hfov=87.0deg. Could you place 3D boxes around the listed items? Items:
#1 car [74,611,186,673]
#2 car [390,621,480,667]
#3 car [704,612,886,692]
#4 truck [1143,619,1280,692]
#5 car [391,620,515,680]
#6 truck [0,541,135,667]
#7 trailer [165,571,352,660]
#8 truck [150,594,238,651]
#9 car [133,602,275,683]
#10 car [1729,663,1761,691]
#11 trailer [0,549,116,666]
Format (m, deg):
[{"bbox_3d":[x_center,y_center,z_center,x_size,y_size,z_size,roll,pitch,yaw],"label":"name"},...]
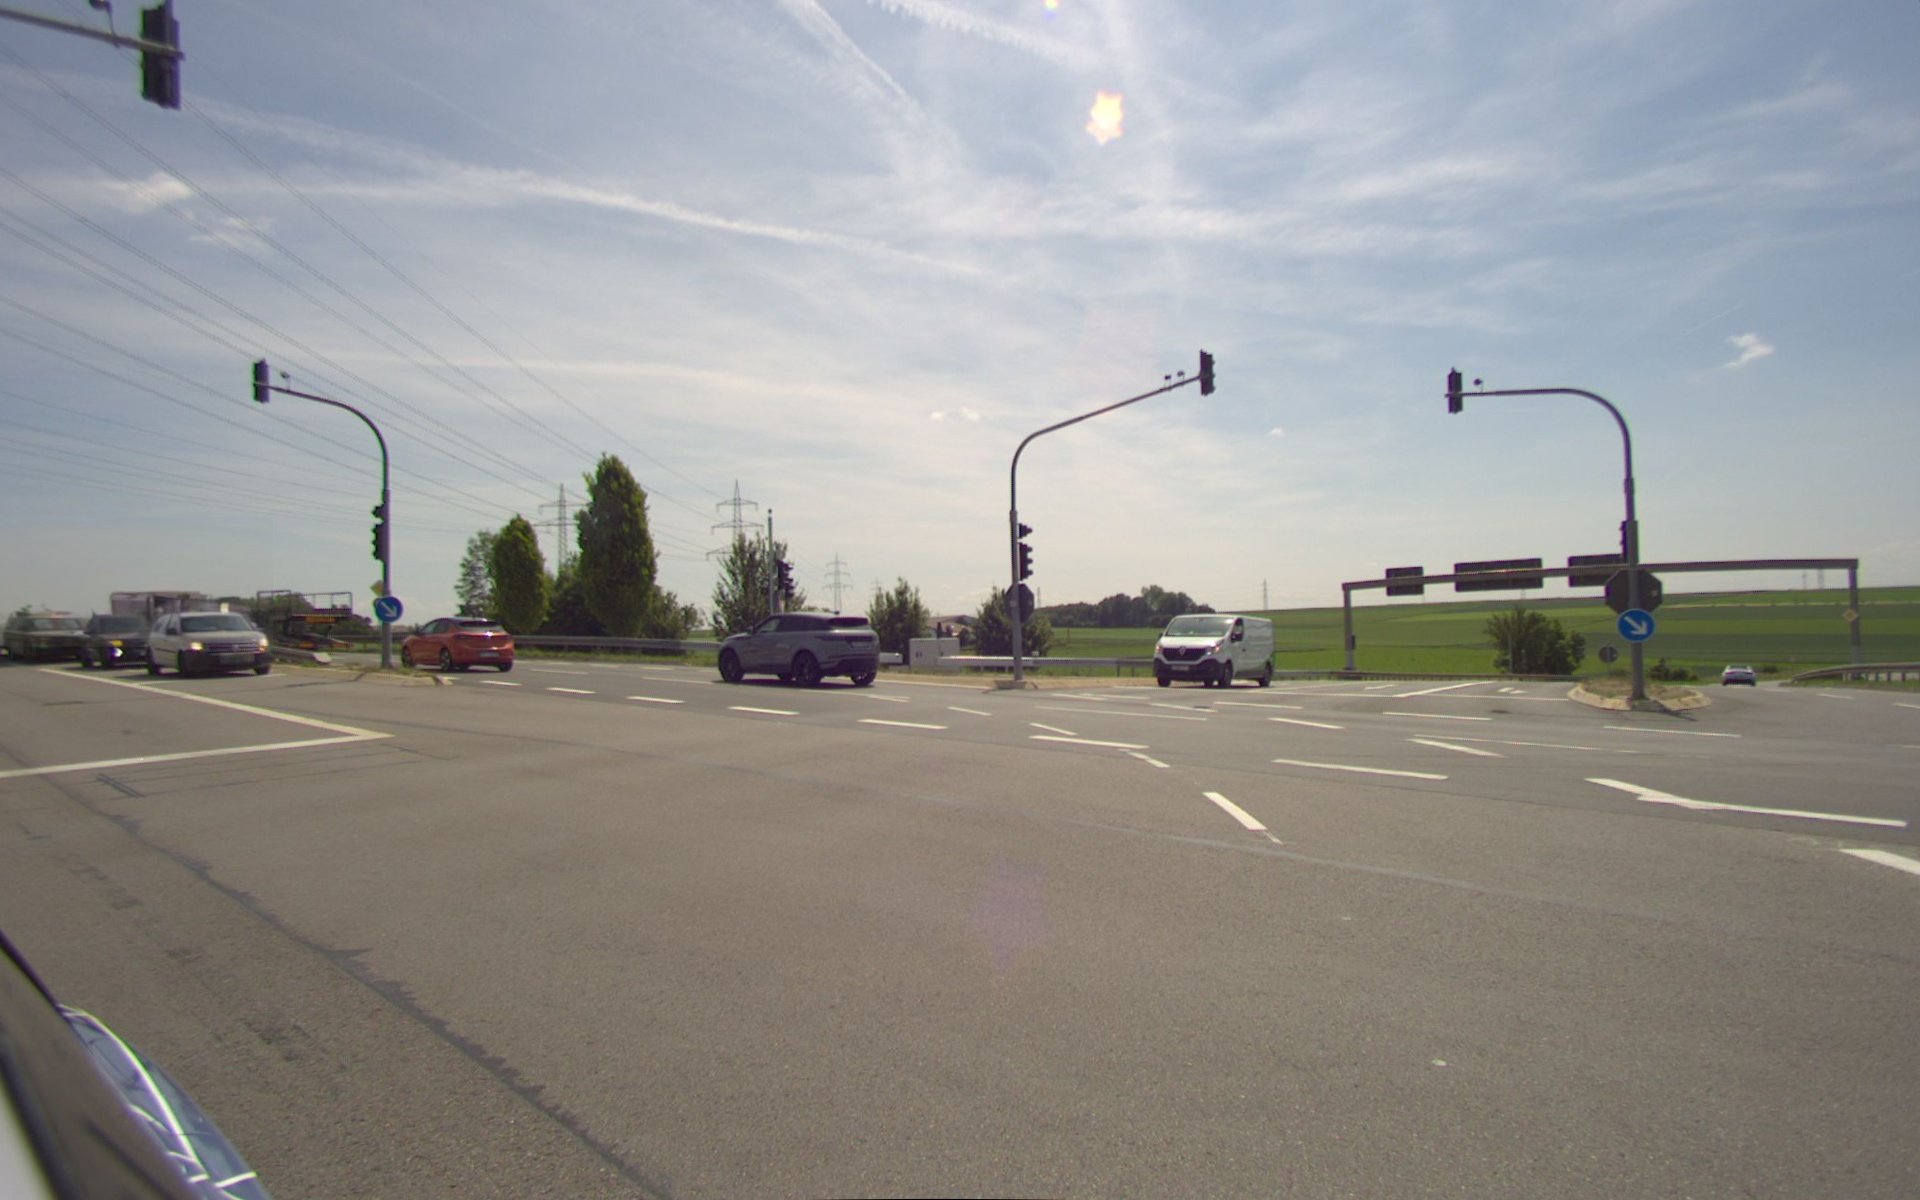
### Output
[{"bbox_3d":[-24.697,1.197,30.062,4.345,1.670,1.837,-1,0,41],"label":"car"},{"bbox_3d":[-18.803,1.543,36.185,3.801,1.508,1.626,-1,-2,42],"label":"car"},{"bbox_3d":[-3.789,1.119,22.806,4.325,1.636,1.627,0,-3,41],"label":"car"},{"bbox_3d":[6.827,1.445,27.050,1.994,1.770,5.223,-1,-3,33],"label":"truck"},{"bbox_3d":[-13.802,1.333,27.458,4.065,1.508,1.626,-1,-3,42],"label":"car"},{"bbox_3d":[-31.406,0.171,35.452,5.965,4.043,2.756,-1,0,39],"label":"truck"},{"bbox_3d":[-35.406,0.753,50.366,19.784,3.792,2.612,-1,-1,40],"label":"trailer"},{"bbox_3d":[-42.975,1.221,56.738,5.986,3.036,2.770,-1,-1,41],"label":"truck"},{"bbox_3d":[-18.885,1.020,25.214,4.747,1.812,1.750,-1,0,40],"label":"car"},{"bbox_3d":[53.167,5.179,68.543,1.631,1.471,4.435,-1,0,39],"label":"car"},{"bbox_3d":[-36.597,0.343,39.756,13.773,3.943,2.756,-1,0,40],"label":"trailer"}]
